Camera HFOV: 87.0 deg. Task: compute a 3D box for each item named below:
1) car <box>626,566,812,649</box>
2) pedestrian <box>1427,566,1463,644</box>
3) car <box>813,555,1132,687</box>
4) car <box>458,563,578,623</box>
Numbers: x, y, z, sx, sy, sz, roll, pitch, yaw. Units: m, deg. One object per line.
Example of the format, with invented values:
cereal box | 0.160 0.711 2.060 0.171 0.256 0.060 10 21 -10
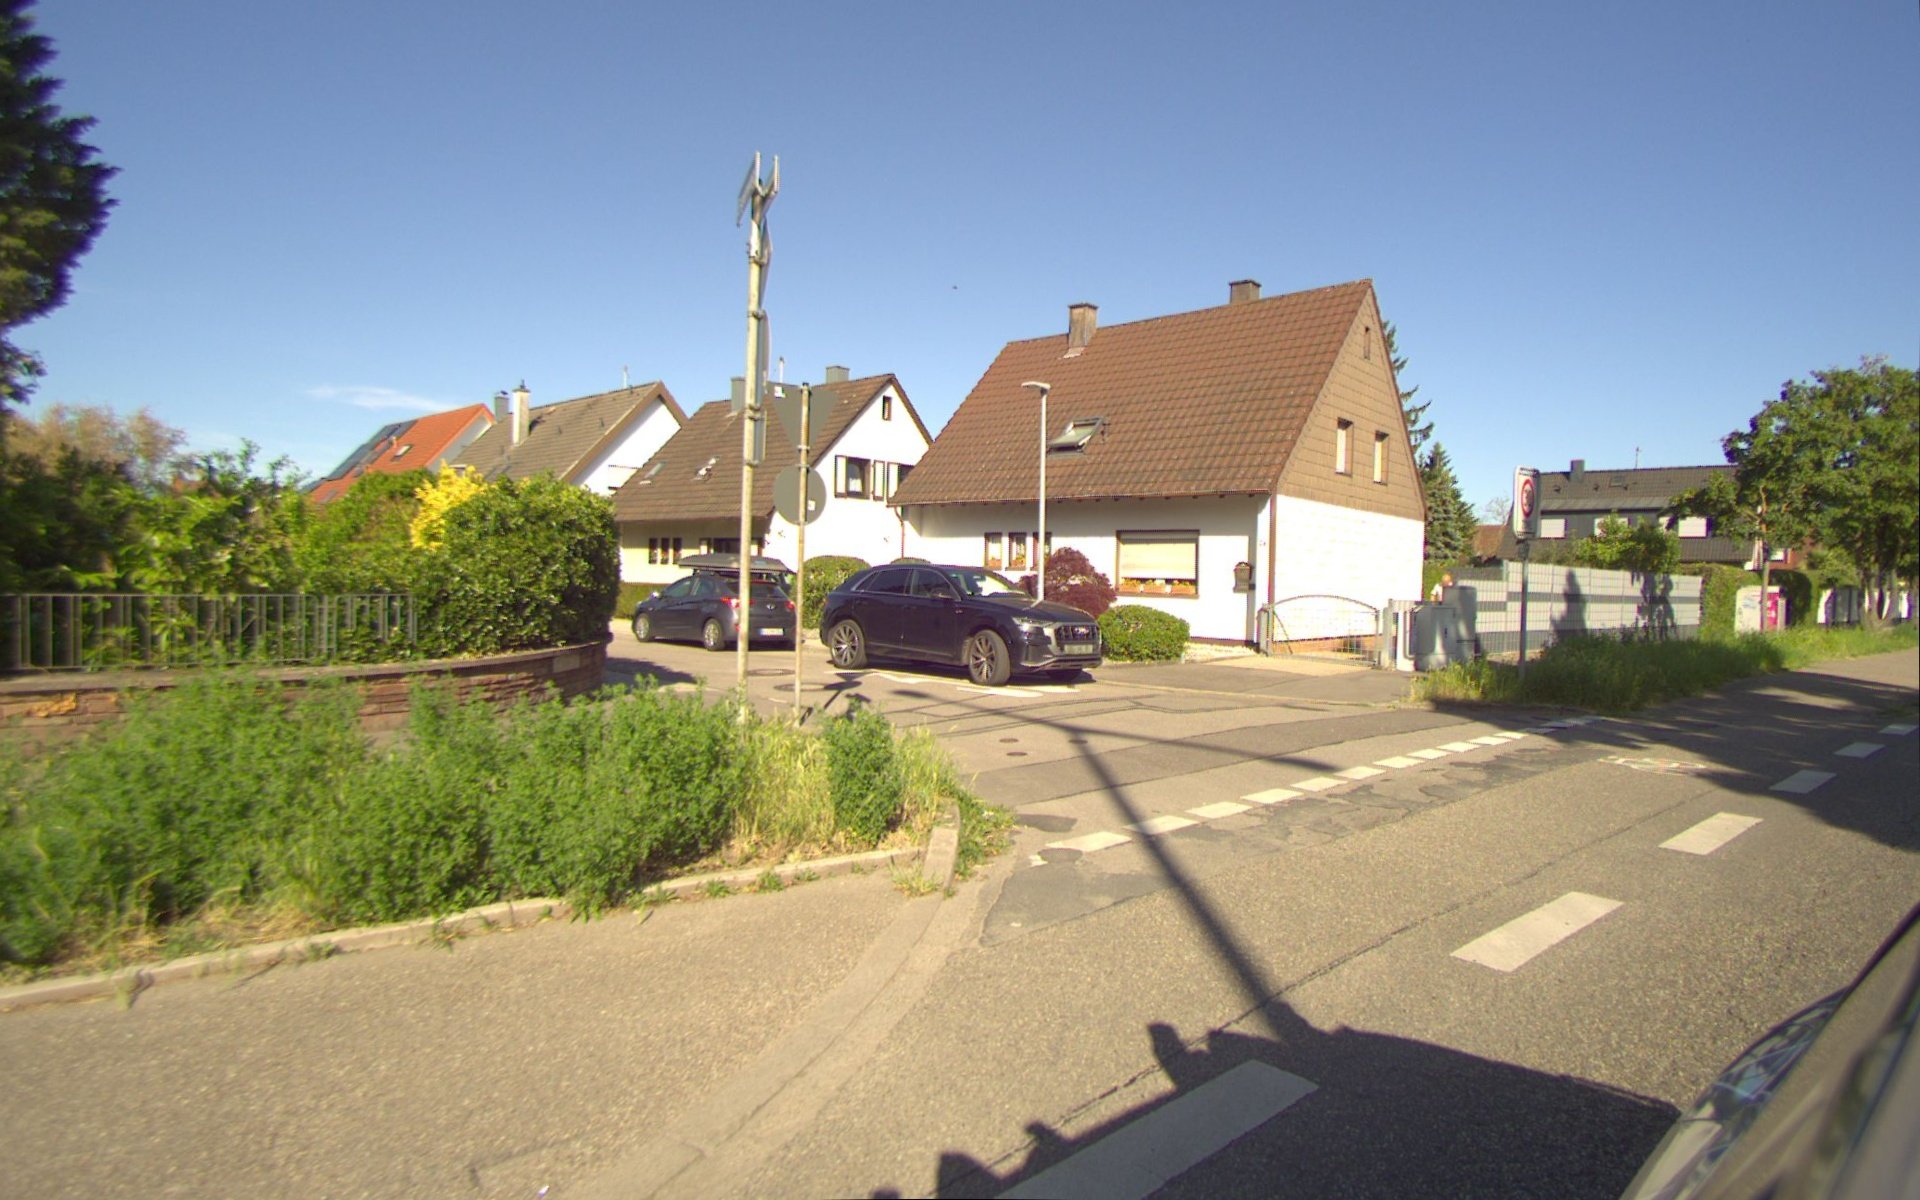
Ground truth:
car | -4.890 0.097 20.226 3.921 1.456 1.760 3 1 44
pedestrian | 10.949 0.106 22.843 0.626 1.730 0.606 1 0 36
car | 0.050 0.202 15.471 4.742 1.677 2.039 3 1 44
car | -11.836 -0.214 27.000 3.599 1.456 1.658 3 1 44
